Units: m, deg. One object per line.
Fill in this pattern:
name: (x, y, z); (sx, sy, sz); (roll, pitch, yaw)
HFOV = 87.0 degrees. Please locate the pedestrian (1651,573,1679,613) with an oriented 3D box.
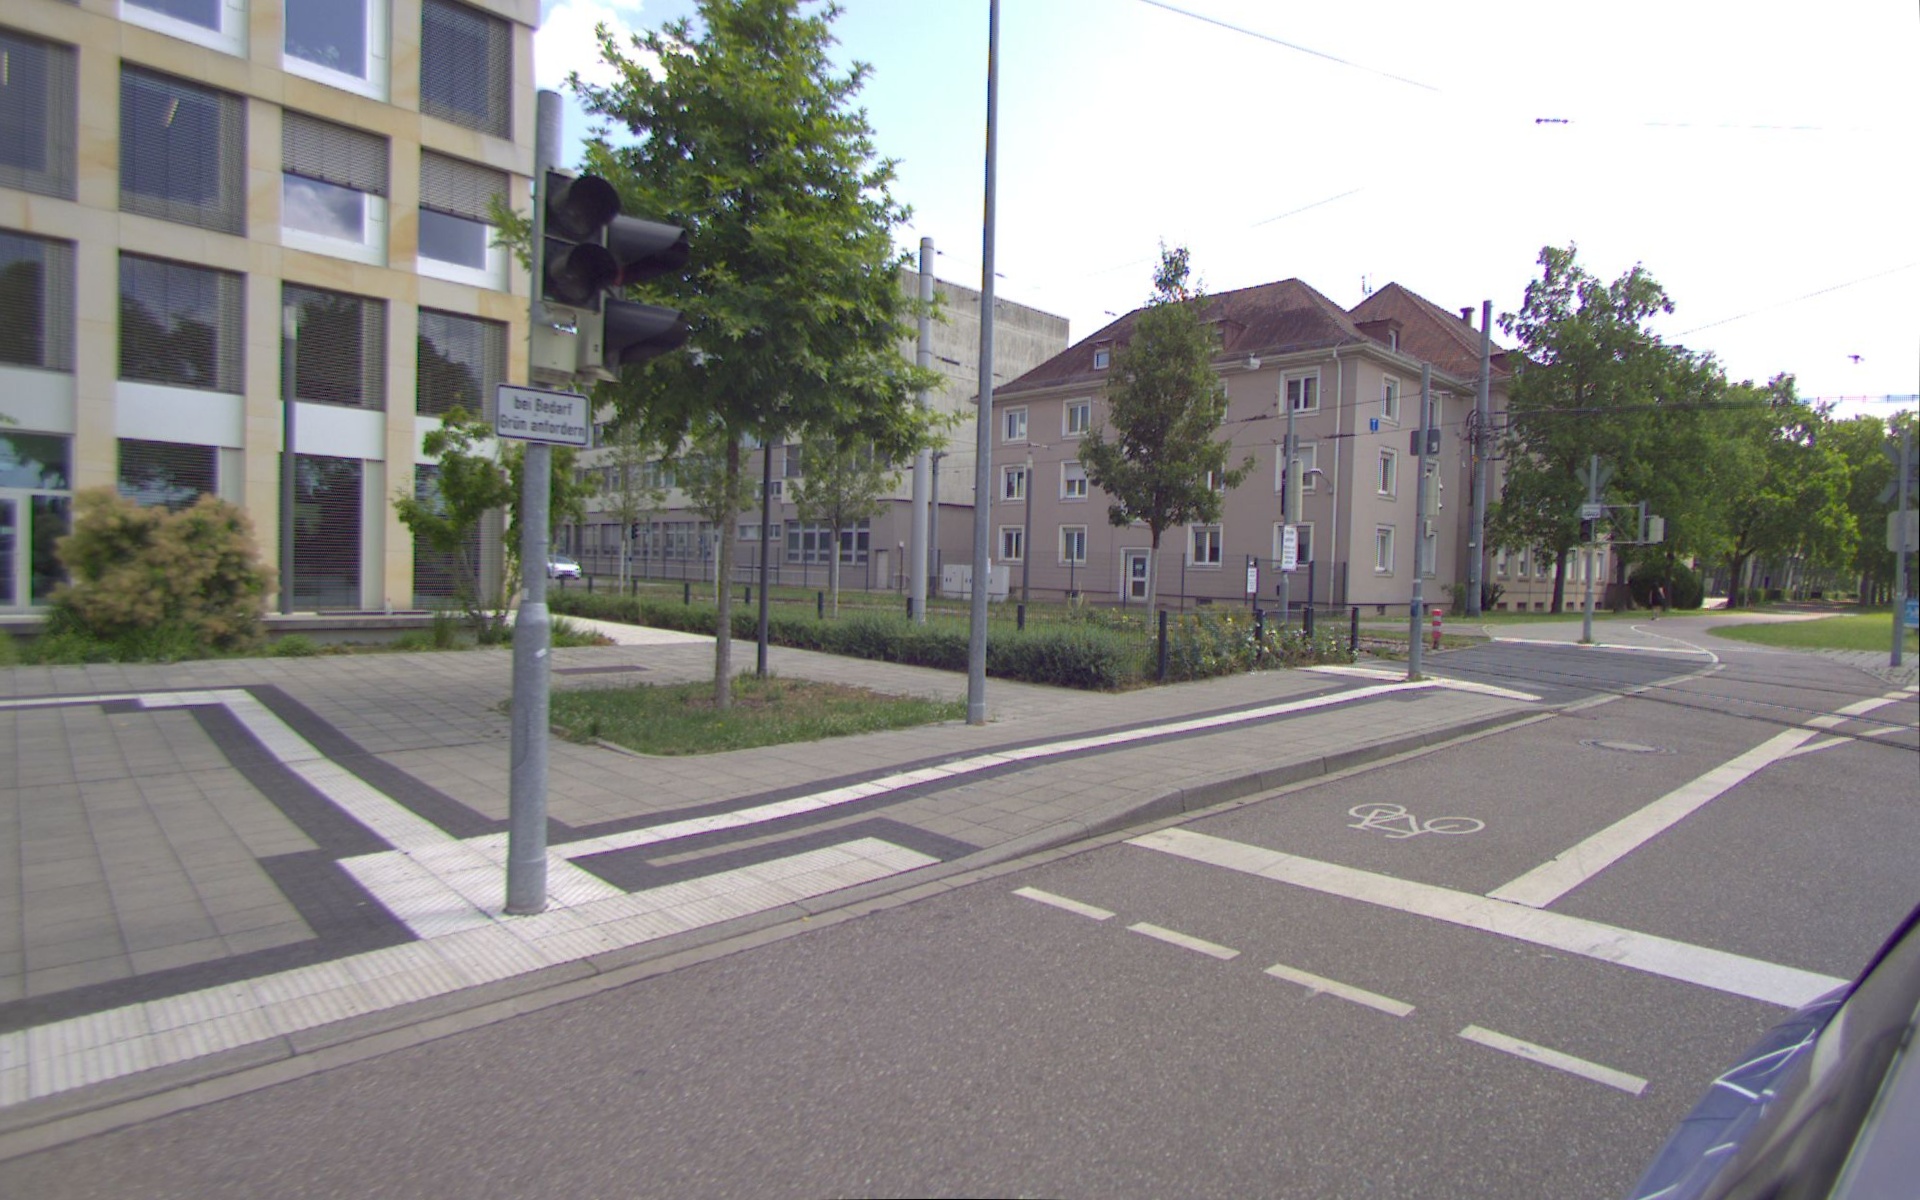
pedestrian: (29.473, -0.303, 42.290); (0.611, 1.627, 0.626); (1, 3, -14)

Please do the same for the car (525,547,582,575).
car: (-24.264, -2.331, 60.382); (1.779, 1.586, 4.022); (-2, 3, -44)
